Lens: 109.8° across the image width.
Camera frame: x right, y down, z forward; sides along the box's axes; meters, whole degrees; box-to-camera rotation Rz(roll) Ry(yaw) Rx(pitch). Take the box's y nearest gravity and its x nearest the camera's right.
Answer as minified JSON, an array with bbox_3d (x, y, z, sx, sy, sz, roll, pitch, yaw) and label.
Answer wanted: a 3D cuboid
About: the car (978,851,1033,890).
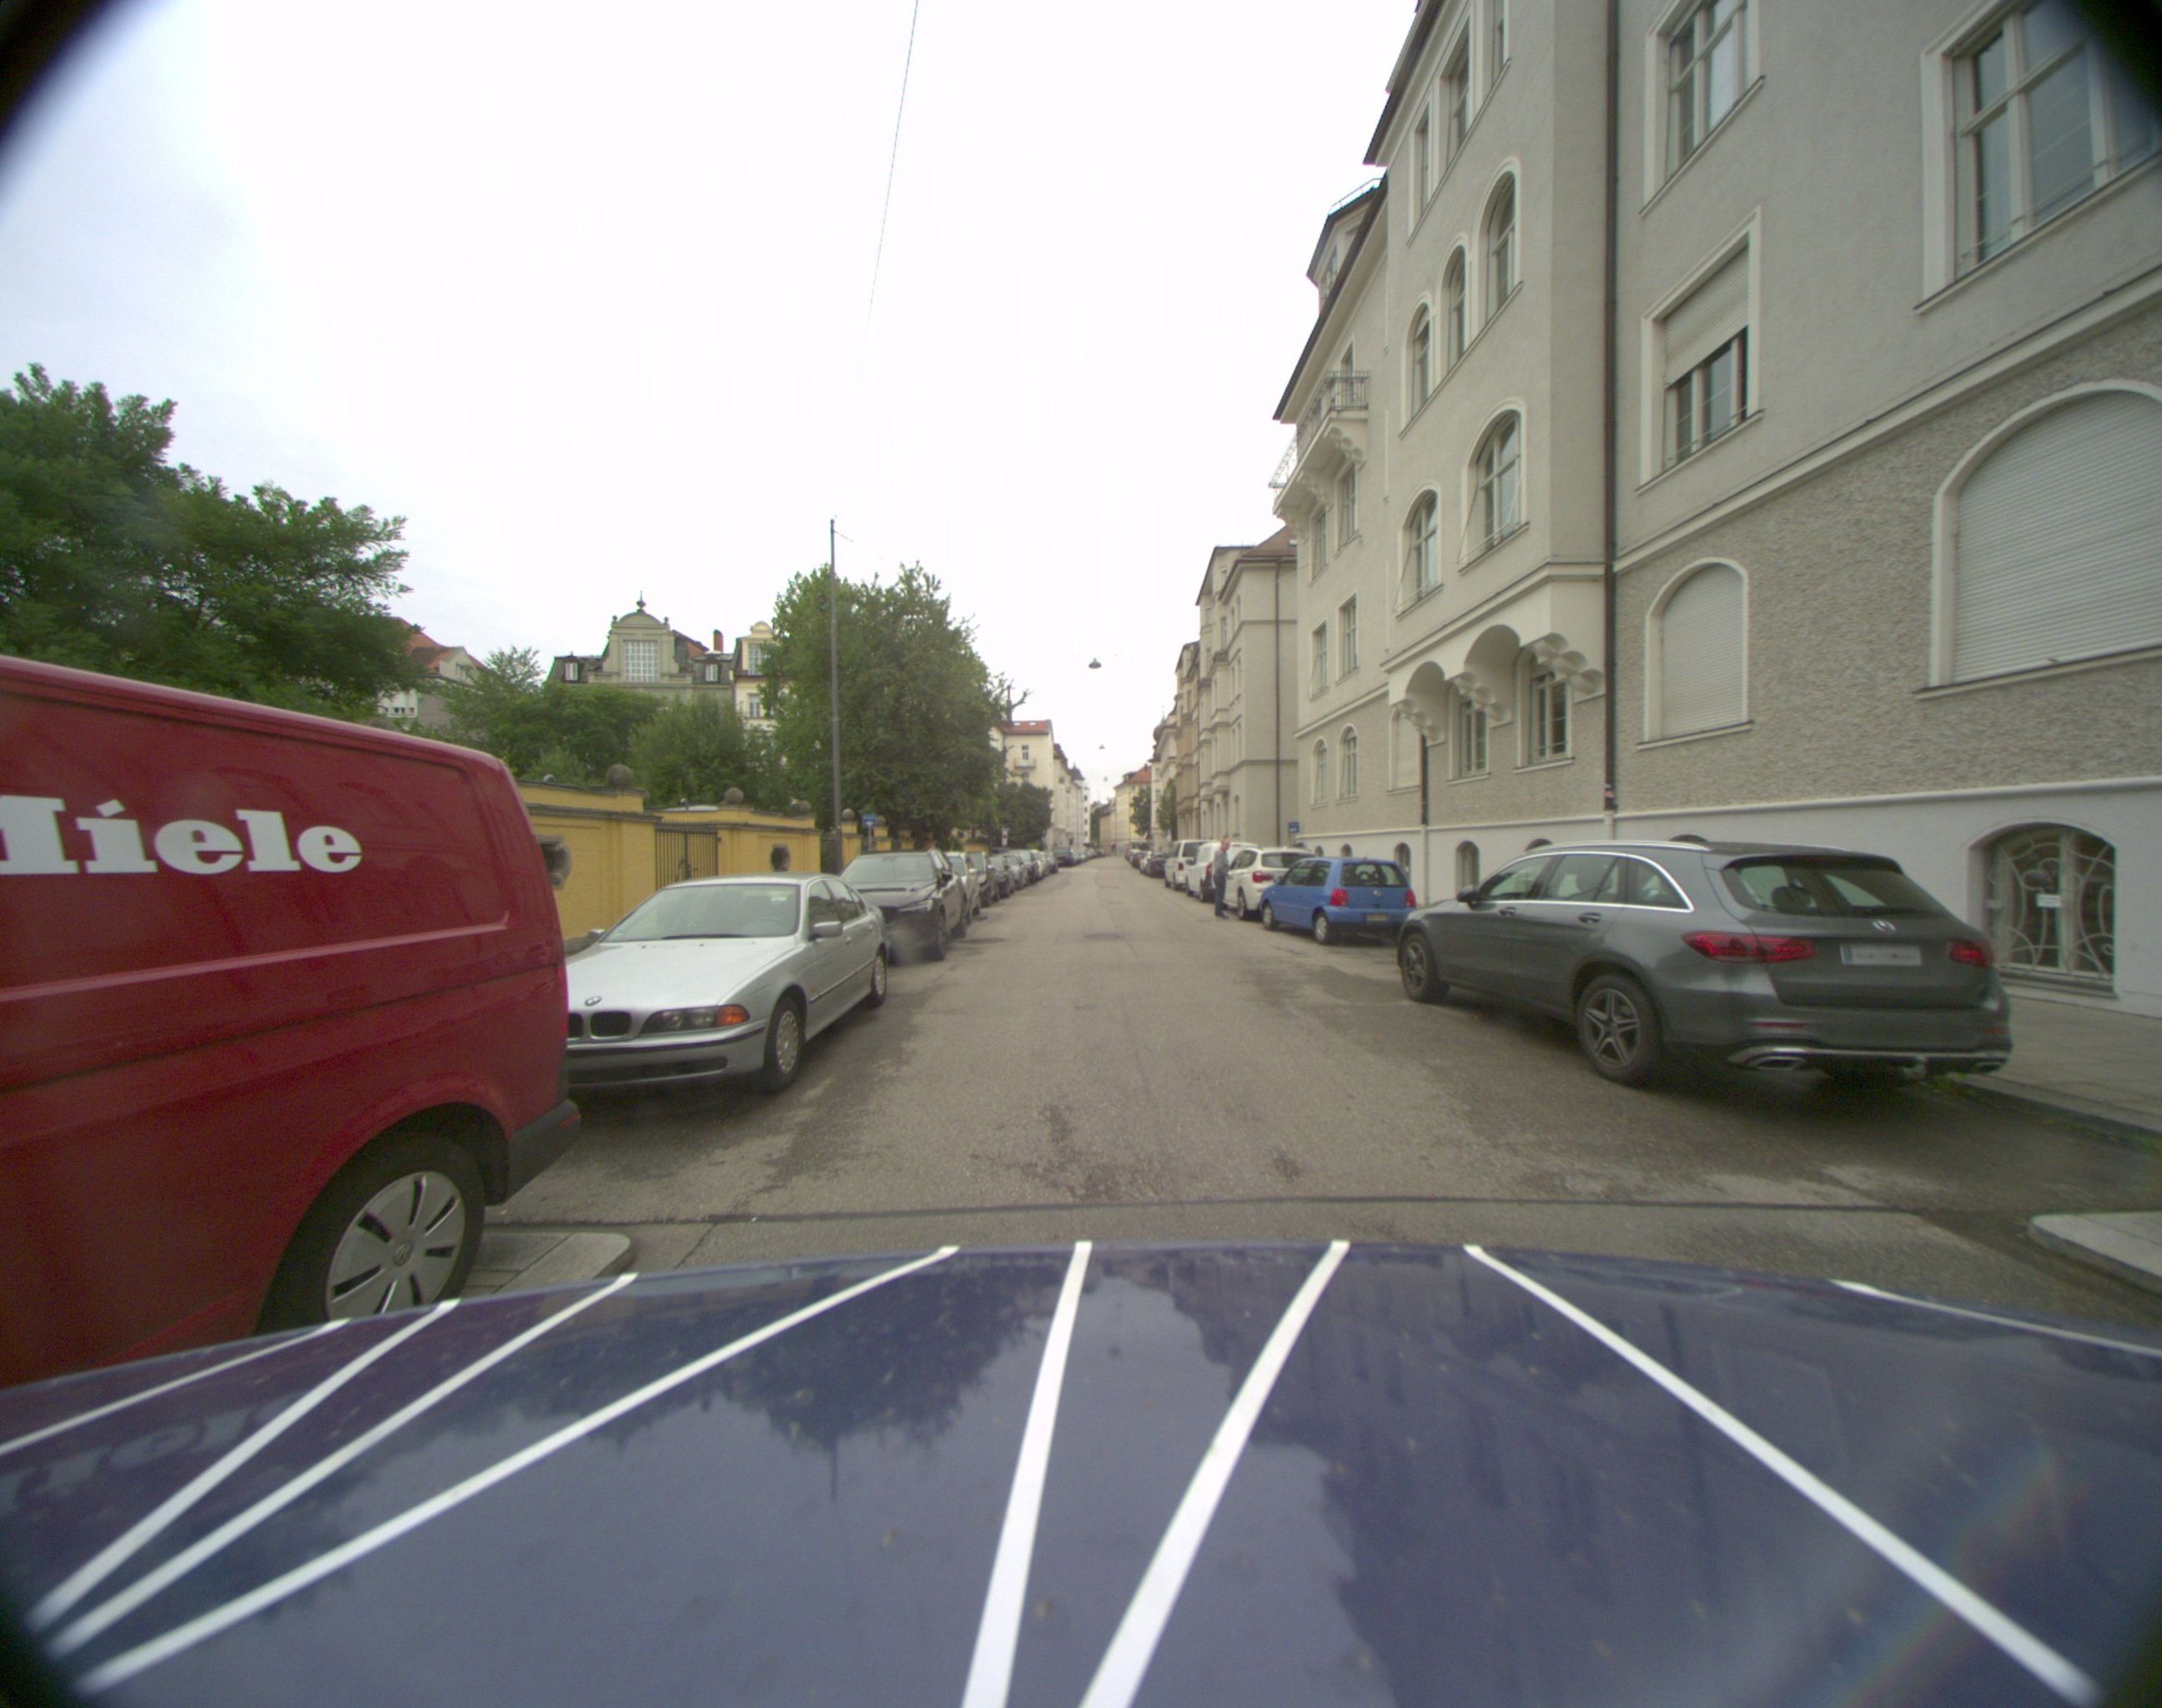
[{"bbox_3d":[-2.974,0.614,30.710,1.696,1.406,4.515,0,1,1],"label":"car"}]

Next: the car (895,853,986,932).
[{"bbox_3d":[-3.080,0.780,17.295,1.488,1.531,3.691,-2,1,-3],"label":"car"}]

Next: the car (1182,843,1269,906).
[{"bbox_3d":[4.444,0.543,24.121,1.751,1.778,5.035,1,1,0],"label":"car"}]

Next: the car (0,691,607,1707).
[{"bbox_3d":[-2.845,0.698,0.581,1.879,1.909,4.886,-2,1,-1],"label":"car"}]

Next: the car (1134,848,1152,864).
[{"bbox_3d":[5.651,0.181,69.708,1.626,1.421,3.942,1,1,4],"label":"car"}]

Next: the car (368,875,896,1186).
[{"bbox_3d":[-2.955,1.016,6.320,1.889,1.440,4.367,-2,1,-3],"label":"car"}]

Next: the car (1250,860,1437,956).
[{"bbox_3d":[4.494,0.858,13.640,1.697,1.406,3.660,1,1,-7],"label":"car"}]

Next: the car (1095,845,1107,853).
[{"bbox_3d":[4.075,-1.084,157.131,1.997,1.585,4.301,-4,0,7],"label":"car"}]

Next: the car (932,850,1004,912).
[{"bbox_3d":[-3.161,0.711,21.725,1.511,1.557,2.869,-2,1,1],"label":"car"}]

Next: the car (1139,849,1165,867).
[{"bbox_3d":[5.513,0.293,59.126,1.809,1.355,3.730,1,1,3],"label":"car"}]

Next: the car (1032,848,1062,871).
[{"bbox_3d":[-2.262,0.348,51.500,1.717,1.445,4.954,0,1,0],"label":"car"}]

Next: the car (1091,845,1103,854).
[{"bbox_3d":[3.060,-0.818,146.860,1.998,1.672,4.300,-4,0,5],"label":"car"}]

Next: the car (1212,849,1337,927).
[{"bbox_3d":[4.434,0.699,18.171,1.751,1.593,4.495,1,1,-1],"label":"car"}]

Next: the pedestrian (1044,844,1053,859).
[{"bbox_3d":[-3.716,-0.313,86.890,0.876,1.680,1.052,0,1,1],"label":"pedestrian"}]

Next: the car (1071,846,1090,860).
[{"bbox_3d":[-0.060,-0.122,96.628,1.998,1.585,4.300,-4,0,4],"label":"car"}]

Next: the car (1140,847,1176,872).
[{"bbox_3d":[4.911,0.325,48.859,1.860,1.455,4.378,1,1,0],"label":"car"}]

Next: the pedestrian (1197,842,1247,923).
[{"bbox_3d":[3.133,0.614,16.950,0.963,1.746,0.876,-1,1,2],"label":"pedestrian"}]

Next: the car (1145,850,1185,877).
[{"bbox_3d":[4.785,0.501,43.806,1.860,1.404,4.378,1,1,0],"label":"car"}]

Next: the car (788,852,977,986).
[{"bbox_3d":[-2.939,0.845,12.415,1.889,1.643,4.822,-2,1,-2],"label":"car"}]

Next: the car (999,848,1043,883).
[{"bbox_3d":[-2.823,0.490,36.741,1.717,1.562,4.690,0,1,0],"label":"car"}]

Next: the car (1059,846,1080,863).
[{"bbox_3d":[-1.126,0.051,79.487,1.998,1.643,4.448,-4,0,1],"label":"car"}]

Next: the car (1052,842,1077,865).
[{"bbox_3d":[-1.453,-0.056,69.304,1.998,1.949,4.433,-4,0,0],"label":"car"}]

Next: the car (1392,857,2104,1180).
[{"bbox_3d":[4.373,0.869,6.181,1.751,1.593,4.495,1,1,-1],"label":"car"}]

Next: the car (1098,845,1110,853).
[{"bbox_3d":[4.968,-1.154,165.968,1.997,1.585,4.301,-4,0,9],"label":"car"}]

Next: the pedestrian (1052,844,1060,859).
[{"bbox_3d":[-2.855,-0.283,86.840,0.876,1.746,1.052,0,1,1],"label":"pedestrian"}]

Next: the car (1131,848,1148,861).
[{"bbox_3d":[6.448,0.066,84.319,1.627,1.421,3.689,1,1,0],"label":"car"}]

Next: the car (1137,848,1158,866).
[{"bbox_3d":[5.581,0.207,64.052,1.626,1.448,3.941,1,1,3],"label":"car"}]

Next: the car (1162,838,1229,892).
[{"bbox_3d":[4.453,0.377,30.279,1.861,1.927,4.956,1,1,0],"label":"car"}]

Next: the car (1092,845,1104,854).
[{"bbox_3d":[3.510,-0.882,152.280,1.998,1.585,4.429,-4,0,5],"label":"car"}]

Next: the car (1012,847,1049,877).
[{"bbox_3d":[-2.742,0.416,42.030,1.717,1.562,4.319,0,1,0],"label":"car"}]

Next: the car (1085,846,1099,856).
[{"bbox_3d":[1.950,-0.578,132.161,1.998,1.585,4.300,-4,0,4],"label":"car"}]

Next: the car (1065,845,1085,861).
[{"bbox_3d":[-0.658,-0.081,84.430,1.998,1.585,4.299,-4,0,1],"label":"car"}]

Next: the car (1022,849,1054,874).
[{"bbox_3d":[-2.603,0.444,46.758,1.717,1.445,4.183,0,1,0],"label":"car"}]

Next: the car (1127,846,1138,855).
[{"bbox_3d":[8.543,-0.577,126.198,1.627,1.522,3.920,1,1,2],"label":"car"}]

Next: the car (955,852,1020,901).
[{"bbox_3d":[-3.092,0.704,25.725,1.696,1.406,4.035,-2,1,-1],"label":"car"}]

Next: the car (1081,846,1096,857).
[{"bbox_3d":[1.179,-0.390,121.456,1.998,1.585,4.300,-4,0,4],"label":"car"}]
